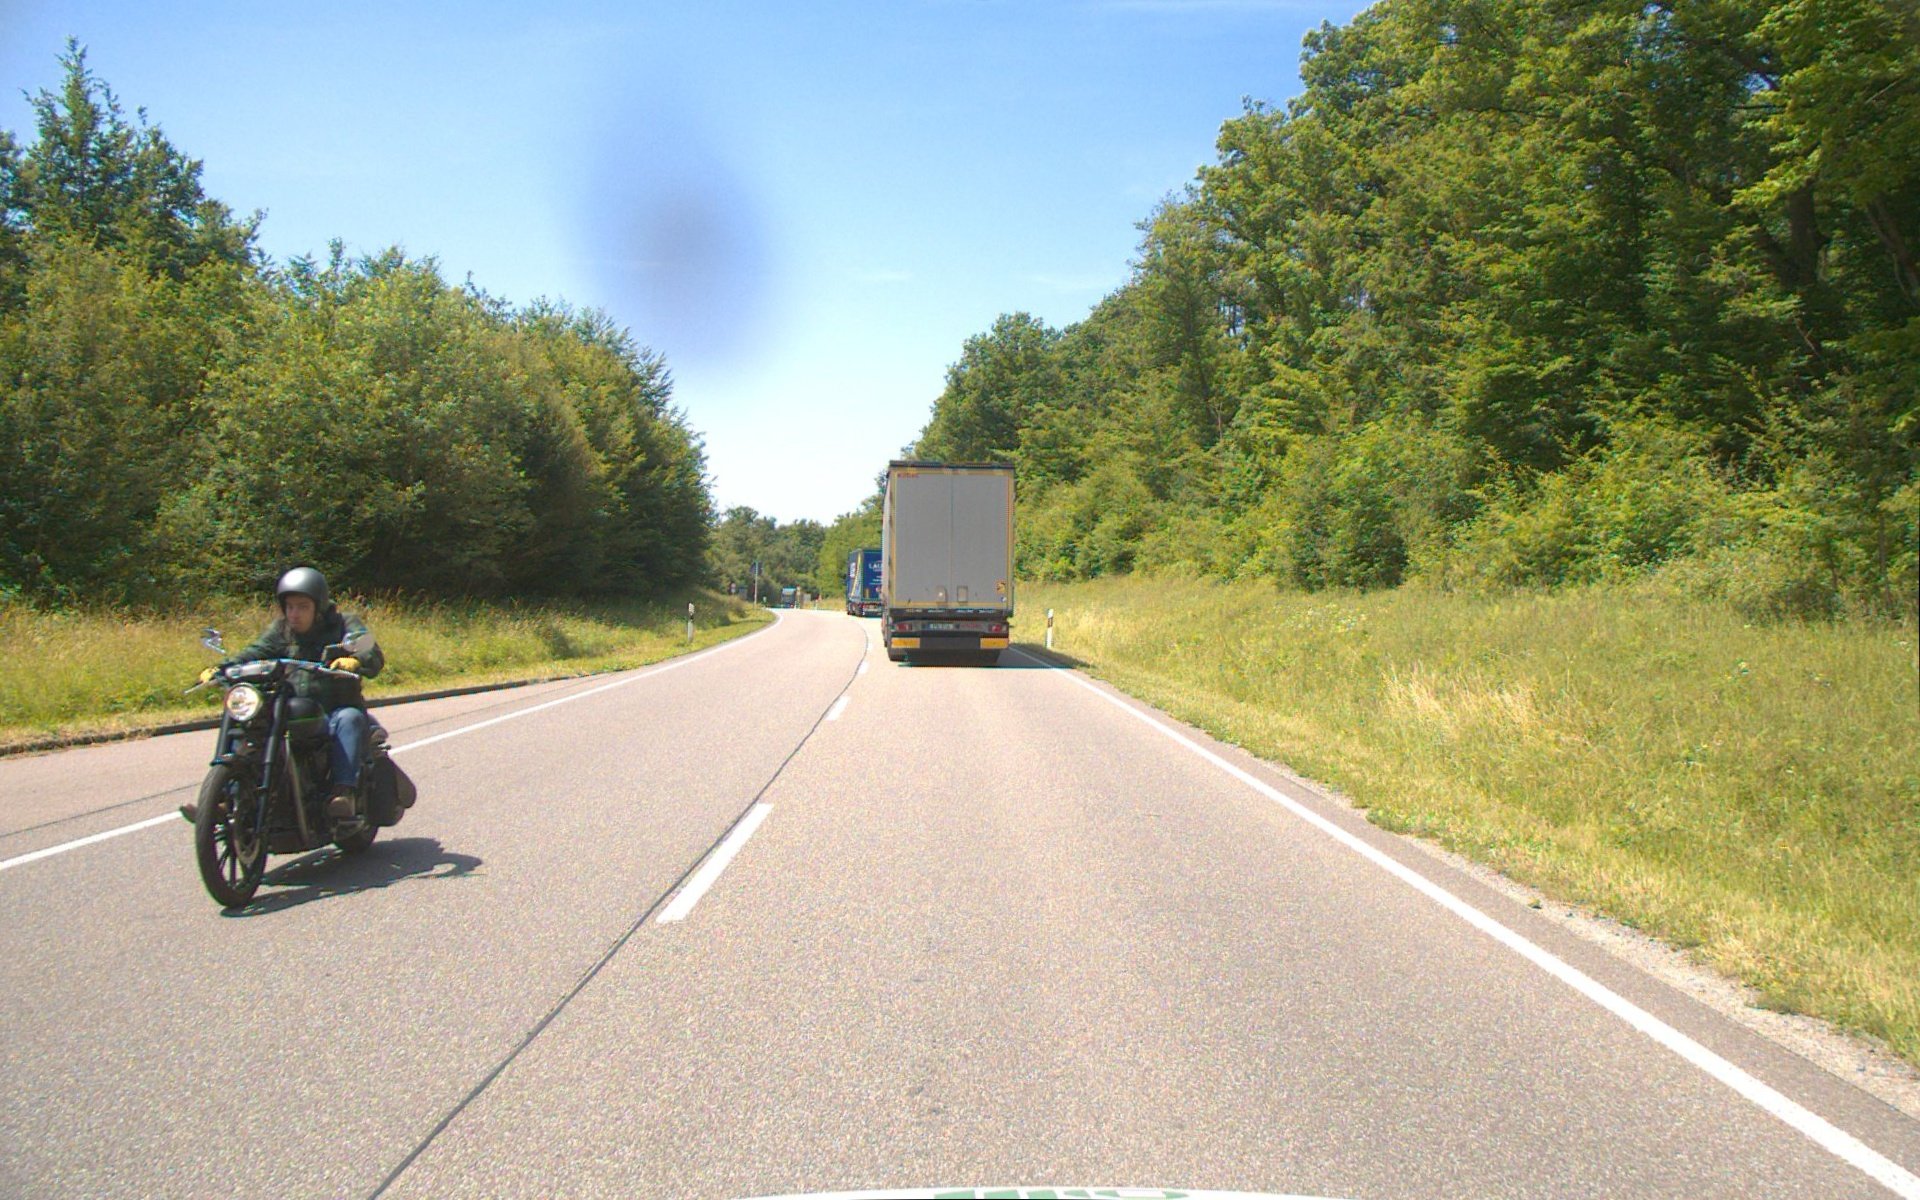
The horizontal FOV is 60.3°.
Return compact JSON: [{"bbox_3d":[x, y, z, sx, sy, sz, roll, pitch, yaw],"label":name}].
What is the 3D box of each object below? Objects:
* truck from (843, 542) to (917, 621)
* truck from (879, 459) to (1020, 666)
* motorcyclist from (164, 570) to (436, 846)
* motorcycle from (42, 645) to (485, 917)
[{"bbox_3d":[-5.152,-1.144,103.431,3.720,4.449,14.902,2,0,-6],"label":"truck"},{"bbox_3d":[-0.422,-0.746,38.535,2.706,4.016,12.192,1,0,-2],"label":"truck"},{"bbox_3d":[-3.427,0.529,8.688,0.988,1.350,0.966,1,0,4],"label":"motorcyclist"},{"bbox_3d":[-3.442,0.827,8.608,0.993,1.081,2.773,1,0,3],"label":"motorcycle"}]
